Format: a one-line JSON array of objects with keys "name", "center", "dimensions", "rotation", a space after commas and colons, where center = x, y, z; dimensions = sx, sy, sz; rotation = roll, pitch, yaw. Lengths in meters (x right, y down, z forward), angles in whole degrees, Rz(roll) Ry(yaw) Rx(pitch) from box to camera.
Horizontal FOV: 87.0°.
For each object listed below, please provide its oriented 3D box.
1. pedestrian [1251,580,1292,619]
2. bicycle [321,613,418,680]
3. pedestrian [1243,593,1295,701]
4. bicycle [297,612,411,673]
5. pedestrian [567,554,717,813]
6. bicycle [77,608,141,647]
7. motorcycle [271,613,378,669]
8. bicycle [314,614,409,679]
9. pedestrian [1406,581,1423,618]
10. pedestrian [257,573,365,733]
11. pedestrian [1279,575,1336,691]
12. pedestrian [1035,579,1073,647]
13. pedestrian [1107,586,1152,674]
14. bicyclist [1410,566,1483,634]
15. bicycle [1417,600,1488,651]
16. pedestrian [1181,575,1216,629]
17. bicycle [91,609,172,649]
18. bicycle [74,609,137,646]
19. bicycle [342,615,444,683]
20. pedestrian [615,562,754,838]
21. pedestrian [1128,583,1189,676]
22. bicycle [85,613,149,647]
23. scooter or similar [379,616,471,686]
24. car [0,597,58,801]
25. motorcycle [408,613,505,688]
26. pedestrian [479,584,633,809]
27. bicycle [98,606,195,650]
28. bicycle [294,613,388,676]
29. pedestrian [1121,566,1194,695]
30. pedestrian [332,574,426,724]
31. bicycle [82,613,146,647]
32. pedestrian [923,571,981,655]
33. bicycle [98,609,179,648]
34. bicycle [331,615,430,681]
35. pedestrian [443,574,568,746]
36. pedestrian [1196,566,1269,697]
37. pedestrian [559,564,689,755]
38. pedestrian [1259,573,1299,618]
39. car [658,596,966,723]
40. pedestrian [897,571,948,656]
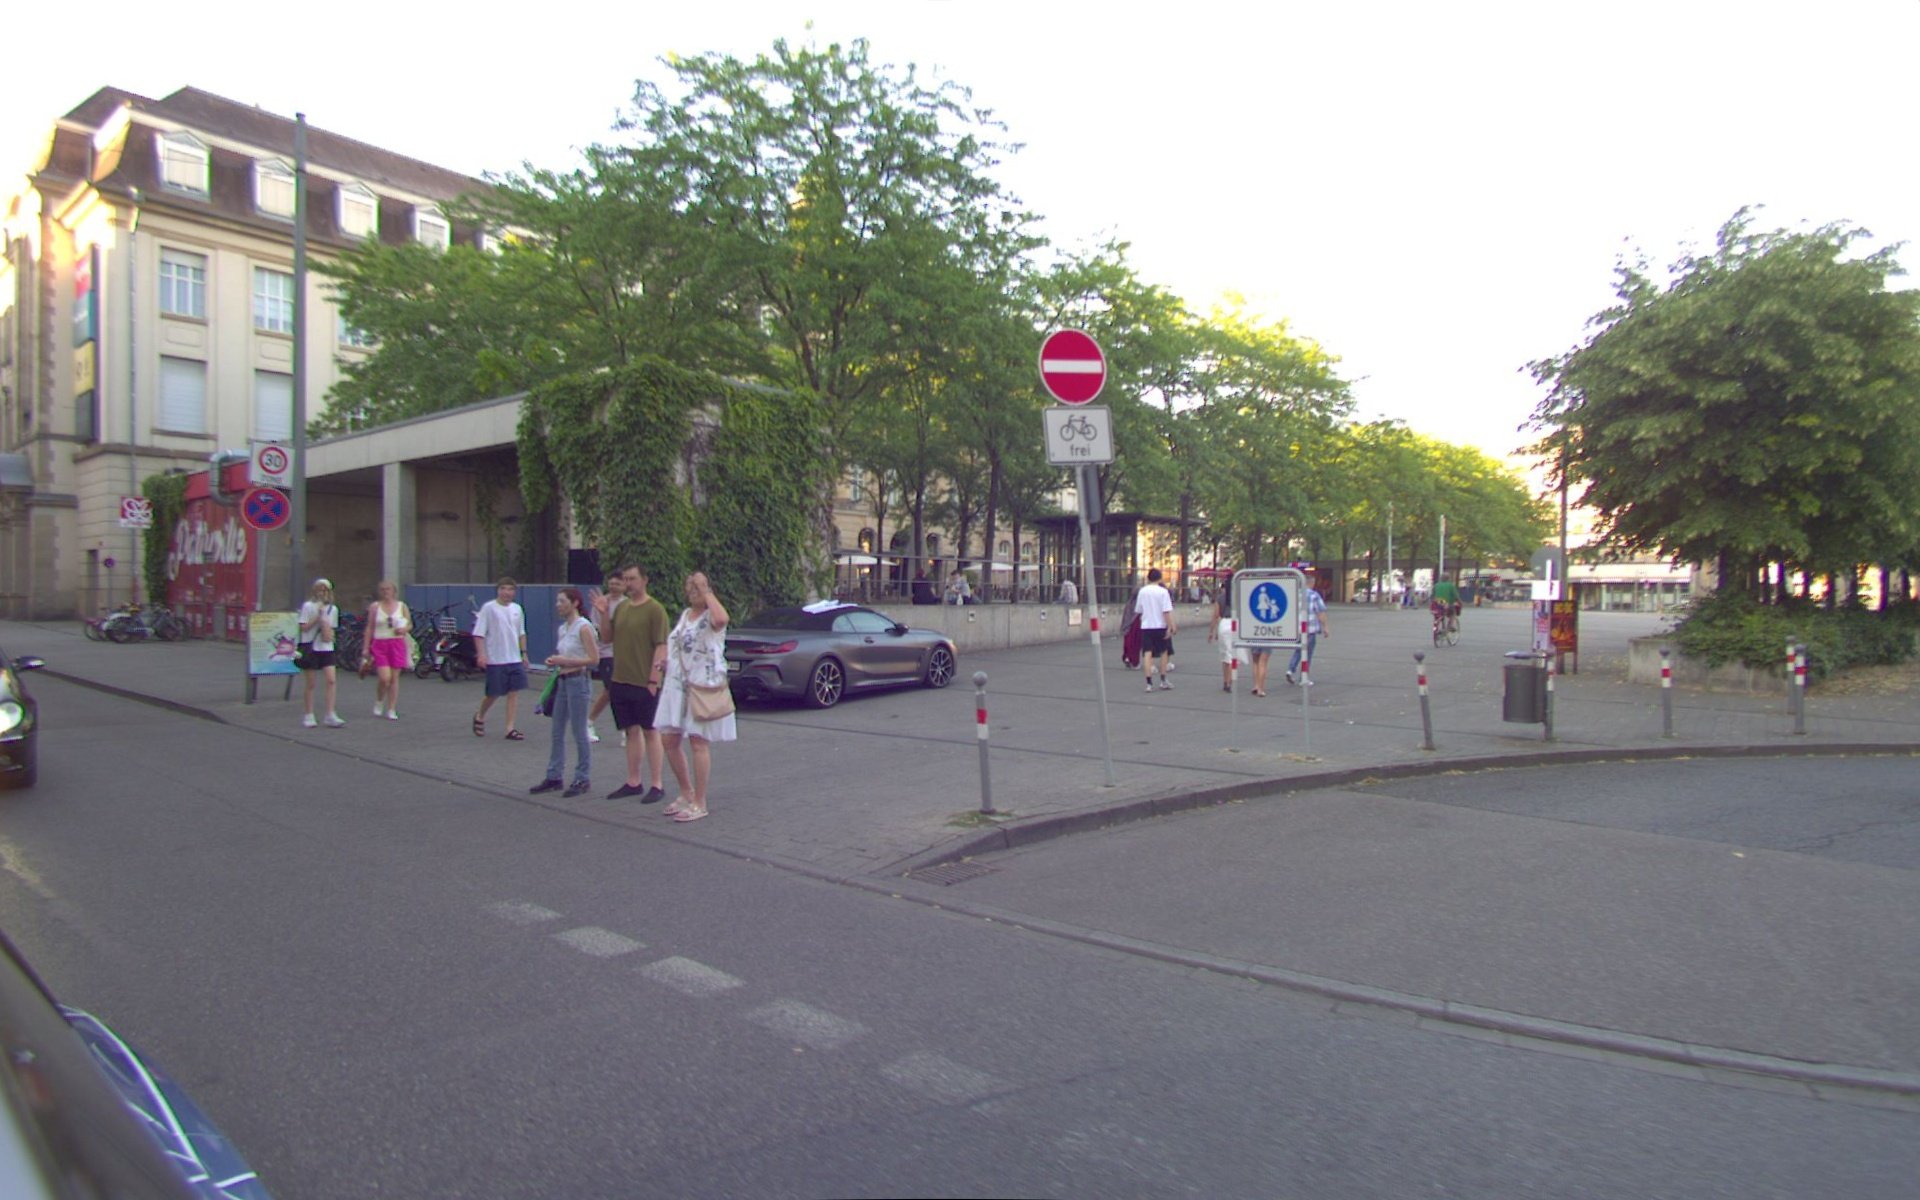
[{"name": "pedestrian", "center": [11.417, -0.016, 37.120], "dimensions": [1.265, 1.390, 0.729], "rotation": [0, 0, 35]}, {"name": "bicycle", "center": [-10.756, 0.832, 18.479], "dimensions": [0.410, 1.119, 1.480], "rotation": [0, 1, 35]}, {"name": "pedestrian", "center": [4.393, 0.652, 14.431], "dimensions": [0.597, 1.497, 0.714], "rotation": [-1, 1, 10]}, {"name": "bicycle", "center": [-12.001, 0.823, 20.093], "dimensions": [0.550, 1.095, 1.848], "rotation": [0, 1, 40]}, {"name": "pedestrian", "center": [-2.474, 0.602, 7.910], "dimensions": [0.849, 1.891, 0.707], "rotation": [0, 1, 30]}, {"name": "bicycle", "center": [-26.538, 0.841, 31.571], "dimensions": [0.311, 1.149, 1.486], "rotation": [0, 1, 30]}, {"name": "motorcycle", "center": [-13.162, 0.837, 21.007], "dimensions": [1.797, 1.077, 0.535], "rotation": [-1, 1, -23]}, {"name": "bicycle", "center": [-11.179, 0.848, 18.950], "dimensions": [0.410, 1.096, 1.480], "rotation": [0, 1, 35]}, {"name": "pedestrian", "center": [24.096, -0.041, 53.673], "dimensions": [0.727, 1.963, 0.797], "rotation": [1, 1, 29]}, {"name": "pedestrian", "center": [-7.753, 0.594, 12.093], "dimensions": [0.868, 1.807, 0.840], "rotation": [0, 1, 41]}, {"name": "pedestrian", "center": [5.377, 0.496, 15.685], "dimensions": [0.708, 1.759, 0.685], "rotation": [-1, 1, 10]}, {"name": "pedestrian", "center": [2.441, 0.333, 26.261], "dimensions": [0.802, 1.739, 0.615], "rotation": [0, 1, 38]}, {"name": "pedestrian", "center": [3.088, 0.528, 18.406], "dimensions": [0.676, 1.554, 0.588], "rotation": [0, 1, 25]}, {"name": "bicyclist", "center": [11.259, -0.003, 23.424], "dimensions": [1.381, 1.521, 0.742], "rotation": [0, 0, 43]}, {"name": "bicycle", "center": [11.470, 0.556, 23.537], "dimensions": [0.951, 1.110, 2.297], "rotation": [0, 0, 41]}, {"name": "pedestrian", "center": [7.783, 0.059, 32.995], "dimensions": [0.919, 1.739, 0.694], "rotation": [0, 1, 38]}, {"name": "bicycle", "center": [-24.531, 0.835, 29.999], "dimensions": [0.354, 1.091, 1.819], "rotation": [0, 1, 44]}, {"name": "bicycle", "center": [-26.816, 0.865, 31.776], "dimensions": [0.311, 1.084, 1.486], "rotation": [0, 1, 30]}, {"name": "bicycle", "center": [-10.049, 0.841, 17.983], "dimensions": [0.547, 1.096, 1.480], "rotation": [0, 1, 35]}, {"name": "pedestrian", "center": [-1.927, 0.652, 7.127], "dimensions": [0.868, 1.816, 0.716], "rotation": [-1, 1, -14]}, {"name": "pedestrian", "center": [3.511, 0.498, 17.875], "dimensions": [0.798, 1.594, 0.721], "rotation": [0, 1, 38]}, {"name": "bicycle", "center": [-26.000, 0.916, 31.236], "dimensions": [0.311, 0.963, 1.486], "rotation": [0, 1, 30]}, {"name": "scooter or similar", "center": [-9.233, 0.851, 17.521], "dimensions": [0.408, 1.096, 1.487], "rotation": [0, 1, 21]}, {"name": "car", "center": [-9.036, 0.691, 8.369], "dimensions": [4.615, 1.418, 1.786], "rotation": [1, 0, 41]}, {"name": "motorcycle", "center": [-8.501, 0.824, 17.157], "dimensions": [0.531, 1.135, 1.825], "rotation": [-1, 1, 8]}, {"name": "pedestrian", "center": [-3.183, 0.731, 8.034], "dimensions": [0.872, 1.681, 0.713], "rotation": [1, -1, 6]}, {"name": "bicycle", "center": [-23.782, 0.803, 29.616], "dimensions": [0.446, 1.164, 2.150], "rotation": [0, 2, 44]}, {"name": "bicycle", "center": [-11.868, 0.834, 19.435], "dimensions": [1.475, 1.096, 0.436], "rotation": [-2, 1, -44]}, {"name": "pedestrian", "center": [2.964, 0.434, 15.146], "dimensions": [0.977, 1.867, 0.885], "rotation": [0, 1, 18]}, {"name": "pedestrian", "center": [-7.354, 0.587, 12.814], "dimensions": [0.736, 1.807, 0.801], "rotation": [0, 1, 41]}, {"name": "bicycle", "center": [-26.254, 0.918, 31.416], "dimensions": [0.311, 0.986, 1.486], "rotation": [0, 1, 30]}, {"name": "pedestrian", "center": [-0.181, 0.272, 22.652], "dimensions": [1.121, 1.833, 0.694], "rotation": [0, 1, 38]}, {"name": "bicycle", "center": [-24.137, 0.821, 29.768], "dimensions": [0.354, 1.091, 1.819], "rotation": [0, 1, 44]}, {"name": "bicycle", "center": [-10.427, 0.847, 18.254], "dimensions": [0.441, 1.077, 1.480], "rotation": [0, 1, 35]}, {"name": "pedestrian", "center": [-5.078, 0.618, 11.317], "dimensions": [0.889, 1.807, 0.972], "rotation": [0, 1, 41]}, {"name": "pedestrian", "center": [4.045, 0.443, 15.043], "dimensions": [0.704, 1.889, 0.782], "rotation": [-2, 1, -43]}, {"name": "pedestrian", "center": [-3.549, 0.581, 10.708], "dimensions": [0.889, 1.897, 0.972], "rotation": [0, 1, 41]}, {"name": "pedestrian", "center": [11.874, -0.160, 37.700], "dimensions": [1.265, 1.660, 0.700], "rotation": [0, 0, 36]}, {"name": "car", "center": [-1.962, 0.721, 14.783], "dimensions": [2.100, 1.441, 4.401], "rotation": [0, 1, 32]}, {"name": "pedestrian", "center": [-0.818, 0.286, 21.887], "dimensions": [0.797, 1.795, 0.752], "rotation": [1, 1, 40]}]
